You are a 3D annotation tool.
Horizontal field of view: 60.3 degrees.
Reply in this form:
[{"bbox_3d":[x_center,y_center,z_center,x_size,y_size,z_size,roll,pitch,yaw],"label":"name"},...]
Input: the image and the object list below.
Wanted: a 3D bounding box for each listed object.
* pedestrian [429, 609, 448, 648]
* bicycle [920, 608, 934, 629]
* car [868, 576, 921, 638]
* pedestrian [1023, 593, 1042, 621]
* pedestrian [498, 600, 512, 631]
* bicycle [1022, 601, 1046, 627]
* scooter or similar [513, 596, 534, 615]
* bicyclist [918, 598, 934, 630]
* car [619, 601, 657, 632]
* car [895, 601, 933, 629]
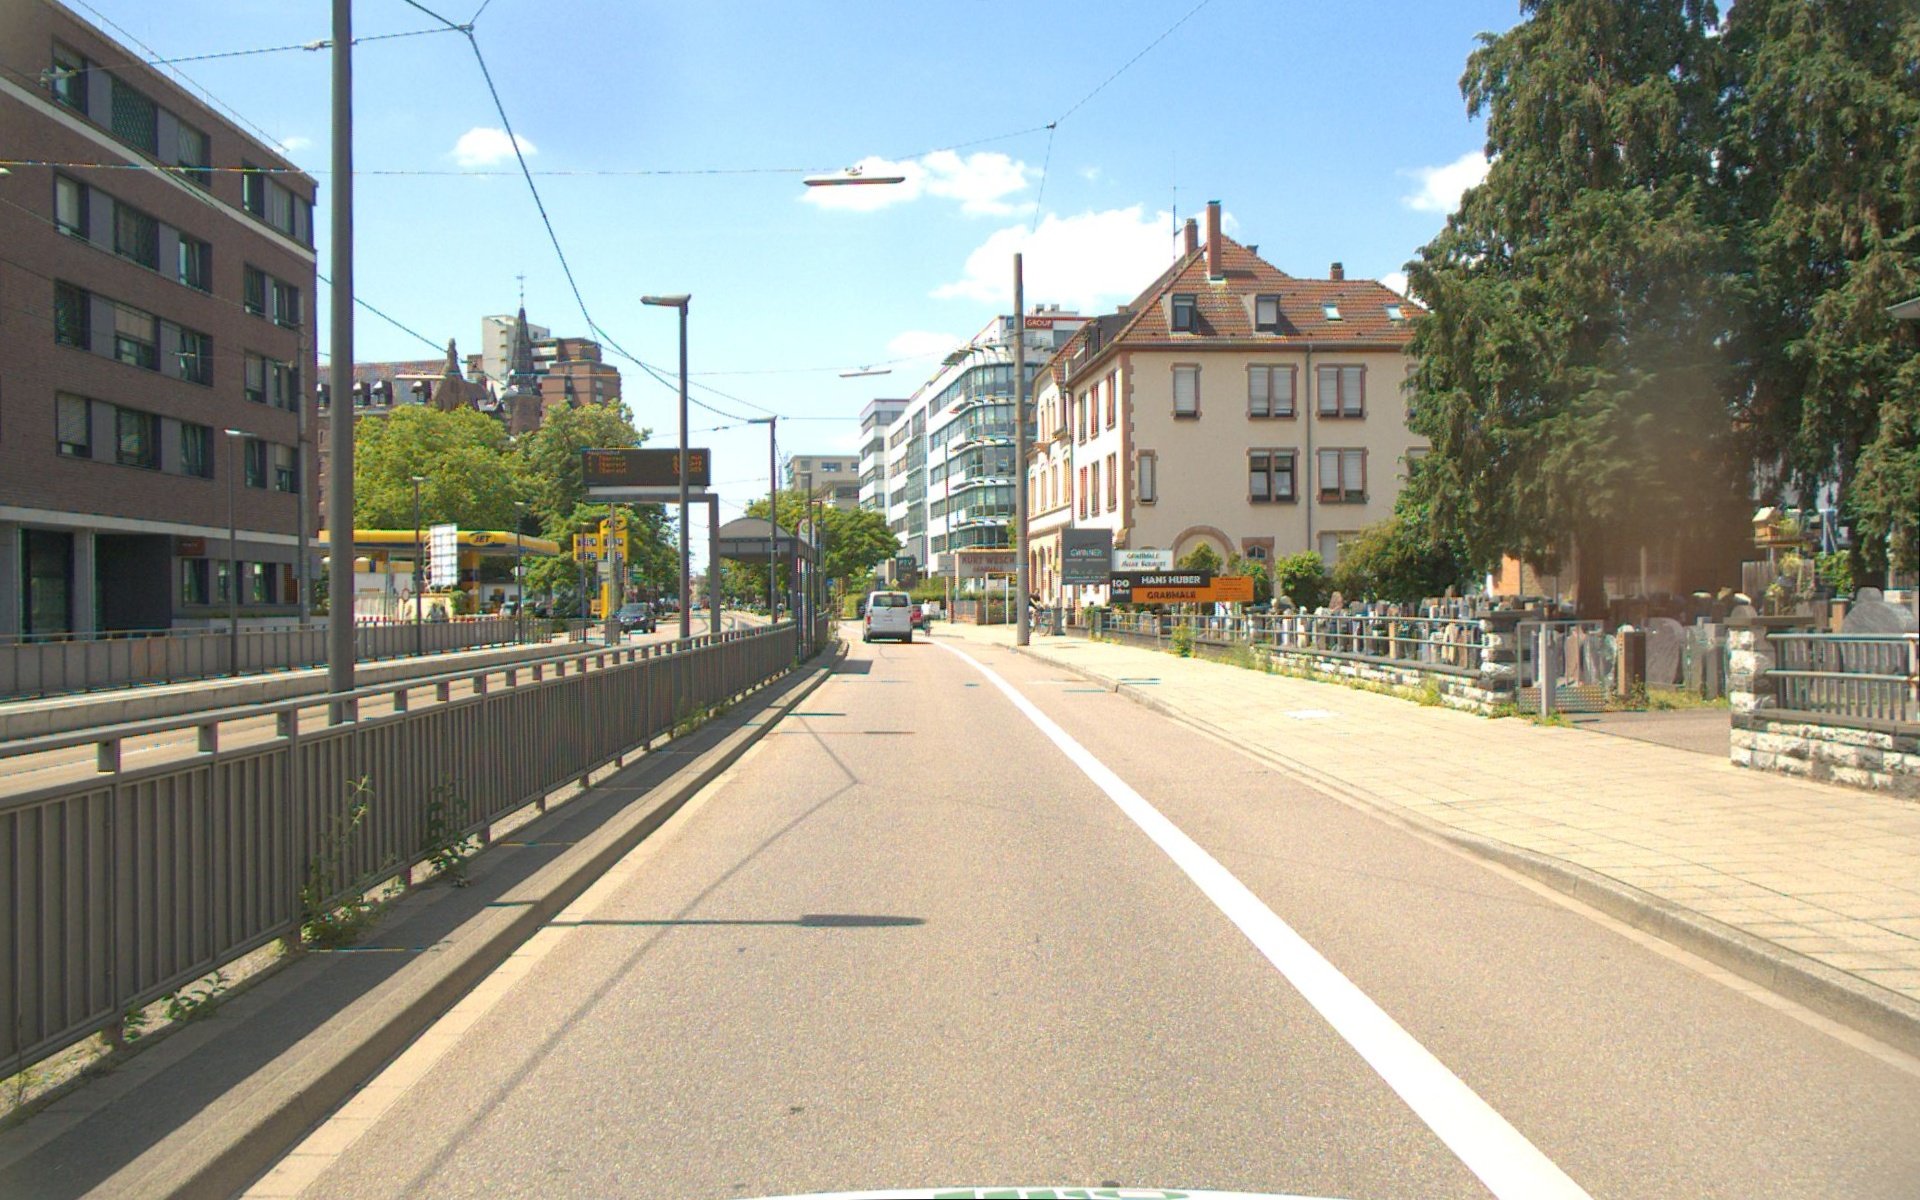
[{"bbox_3d":[-19.522,1.058,61.905,0.427,1.408,0.535,-4,0,-2],"label":"pedestrian"},{"bbox_3d":[-1.495,0.841,75.149,0.457,0.903,2.046,-2,1,-6],"label":"bicycle"},{"bbox_3d":[-2.418,0.207,60.658,1.718,2.048,3.997,-4,2,-4],"label":"car"},{"bbox_3d":[2.854,0.284,65.045,0.477,1.072,0.533,-4,-1,-22],"label":"pedestrian"},{"bbox_3d":[-25.571,0.884,92.906,0.541,1.687,0.672,-2,0,-2],"label":"pedestrian"},{"bbox_3d":[2.904,0.544,65.072,0.352,0.956,1.307,-4,-1,-24],"label":"bicycle"},{"bbox_3d":[-35.610,0.453,134.938,1.286,1.492,1.059,-2,0,2],"label":"scooter or similar"},{"bbox_3d":[-1.538,0.619,75.188,0.580,1.421,0.840,-2,1,-7],"label":"bicyclist"},{"bbox_3d":[-17.837,0.879,91.700,1.666,1.644,3.753,-1,0,-6],"label":"car"},{"bbox_3d":[-2.723,0.864,97.258,1.681,1.477,4.064,-4,1,-9],"label":"car"}]
